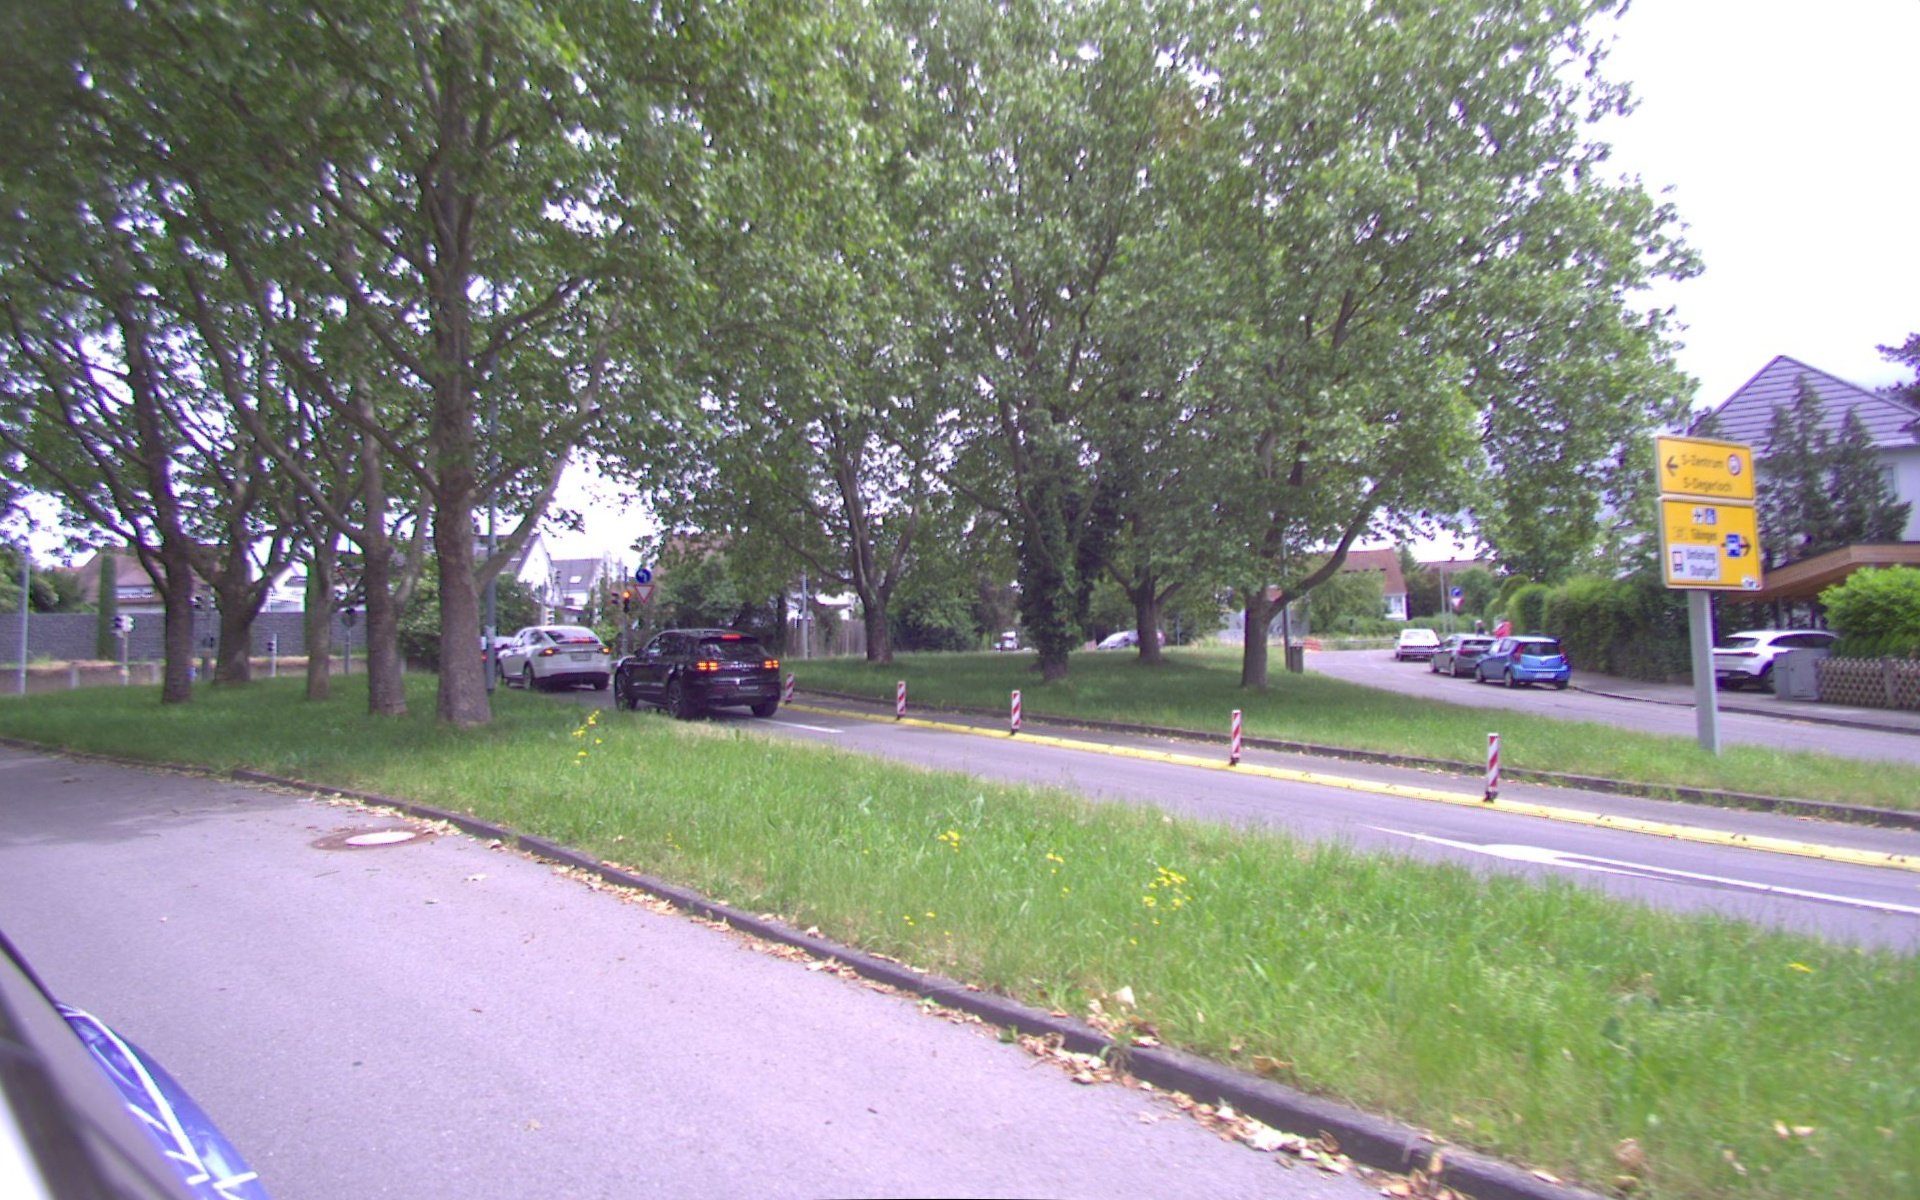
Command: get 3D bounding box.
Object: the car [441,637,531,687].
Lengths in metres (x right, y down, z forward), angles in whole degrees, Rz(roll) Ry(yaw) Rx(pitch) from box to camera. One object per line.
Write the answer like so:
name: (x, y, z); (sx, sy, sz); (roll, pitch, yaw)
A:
car: (-15.629, 2.018, 33.239); (1.734, 1.529, 4.395); (1, -3, -38)

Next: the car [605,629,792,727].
car: (-5.115, 1.377, 19.332); (1.734, 1.603, 4.622); (1, -2, -38)

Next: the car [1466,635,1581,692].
car: (17.800, 1.969, 32.170); (1.761, 1.566, 3.772); (-3, -2, 6)

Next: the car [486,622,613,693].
car: (-11.021, 1.581, 26.937); (1.827, 1.671, 4.915); (1, -6, -38)

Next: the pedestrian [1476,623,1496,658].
pedestrian: (24.527, 1.891, 47.199); (0.571, 1.576, 0.634); (-6, -7, 40)

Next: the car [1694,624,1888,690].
car: (21.815, 1.540, 26.713); (3.340, 1.559, 1.871); (-3, -5, 8)

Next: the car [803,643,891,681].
car: (-5.054, 2.787, 45.053); (3.584, 1.536, 1.655); (3, -6, -17)

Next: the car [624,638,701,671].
car: (-14.698, 2.709, 49.973); (3.584, 1.542, 1.655); (1, -6, -17)

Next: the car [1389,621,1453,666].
car: (21.393, 1.979, 47.140); (2.200, 1.805, 4.850); (-4, -2, 20)

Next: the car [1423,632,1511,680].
car: (18.414, 2.009, 36.943); (1.643, 1.525, 3.985); (-3, -2, 9)

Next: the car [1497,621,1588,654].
car: (28.895, 1.874, 50.321); (3.808, 1.529, 1.594); (-2, -3, 29)
